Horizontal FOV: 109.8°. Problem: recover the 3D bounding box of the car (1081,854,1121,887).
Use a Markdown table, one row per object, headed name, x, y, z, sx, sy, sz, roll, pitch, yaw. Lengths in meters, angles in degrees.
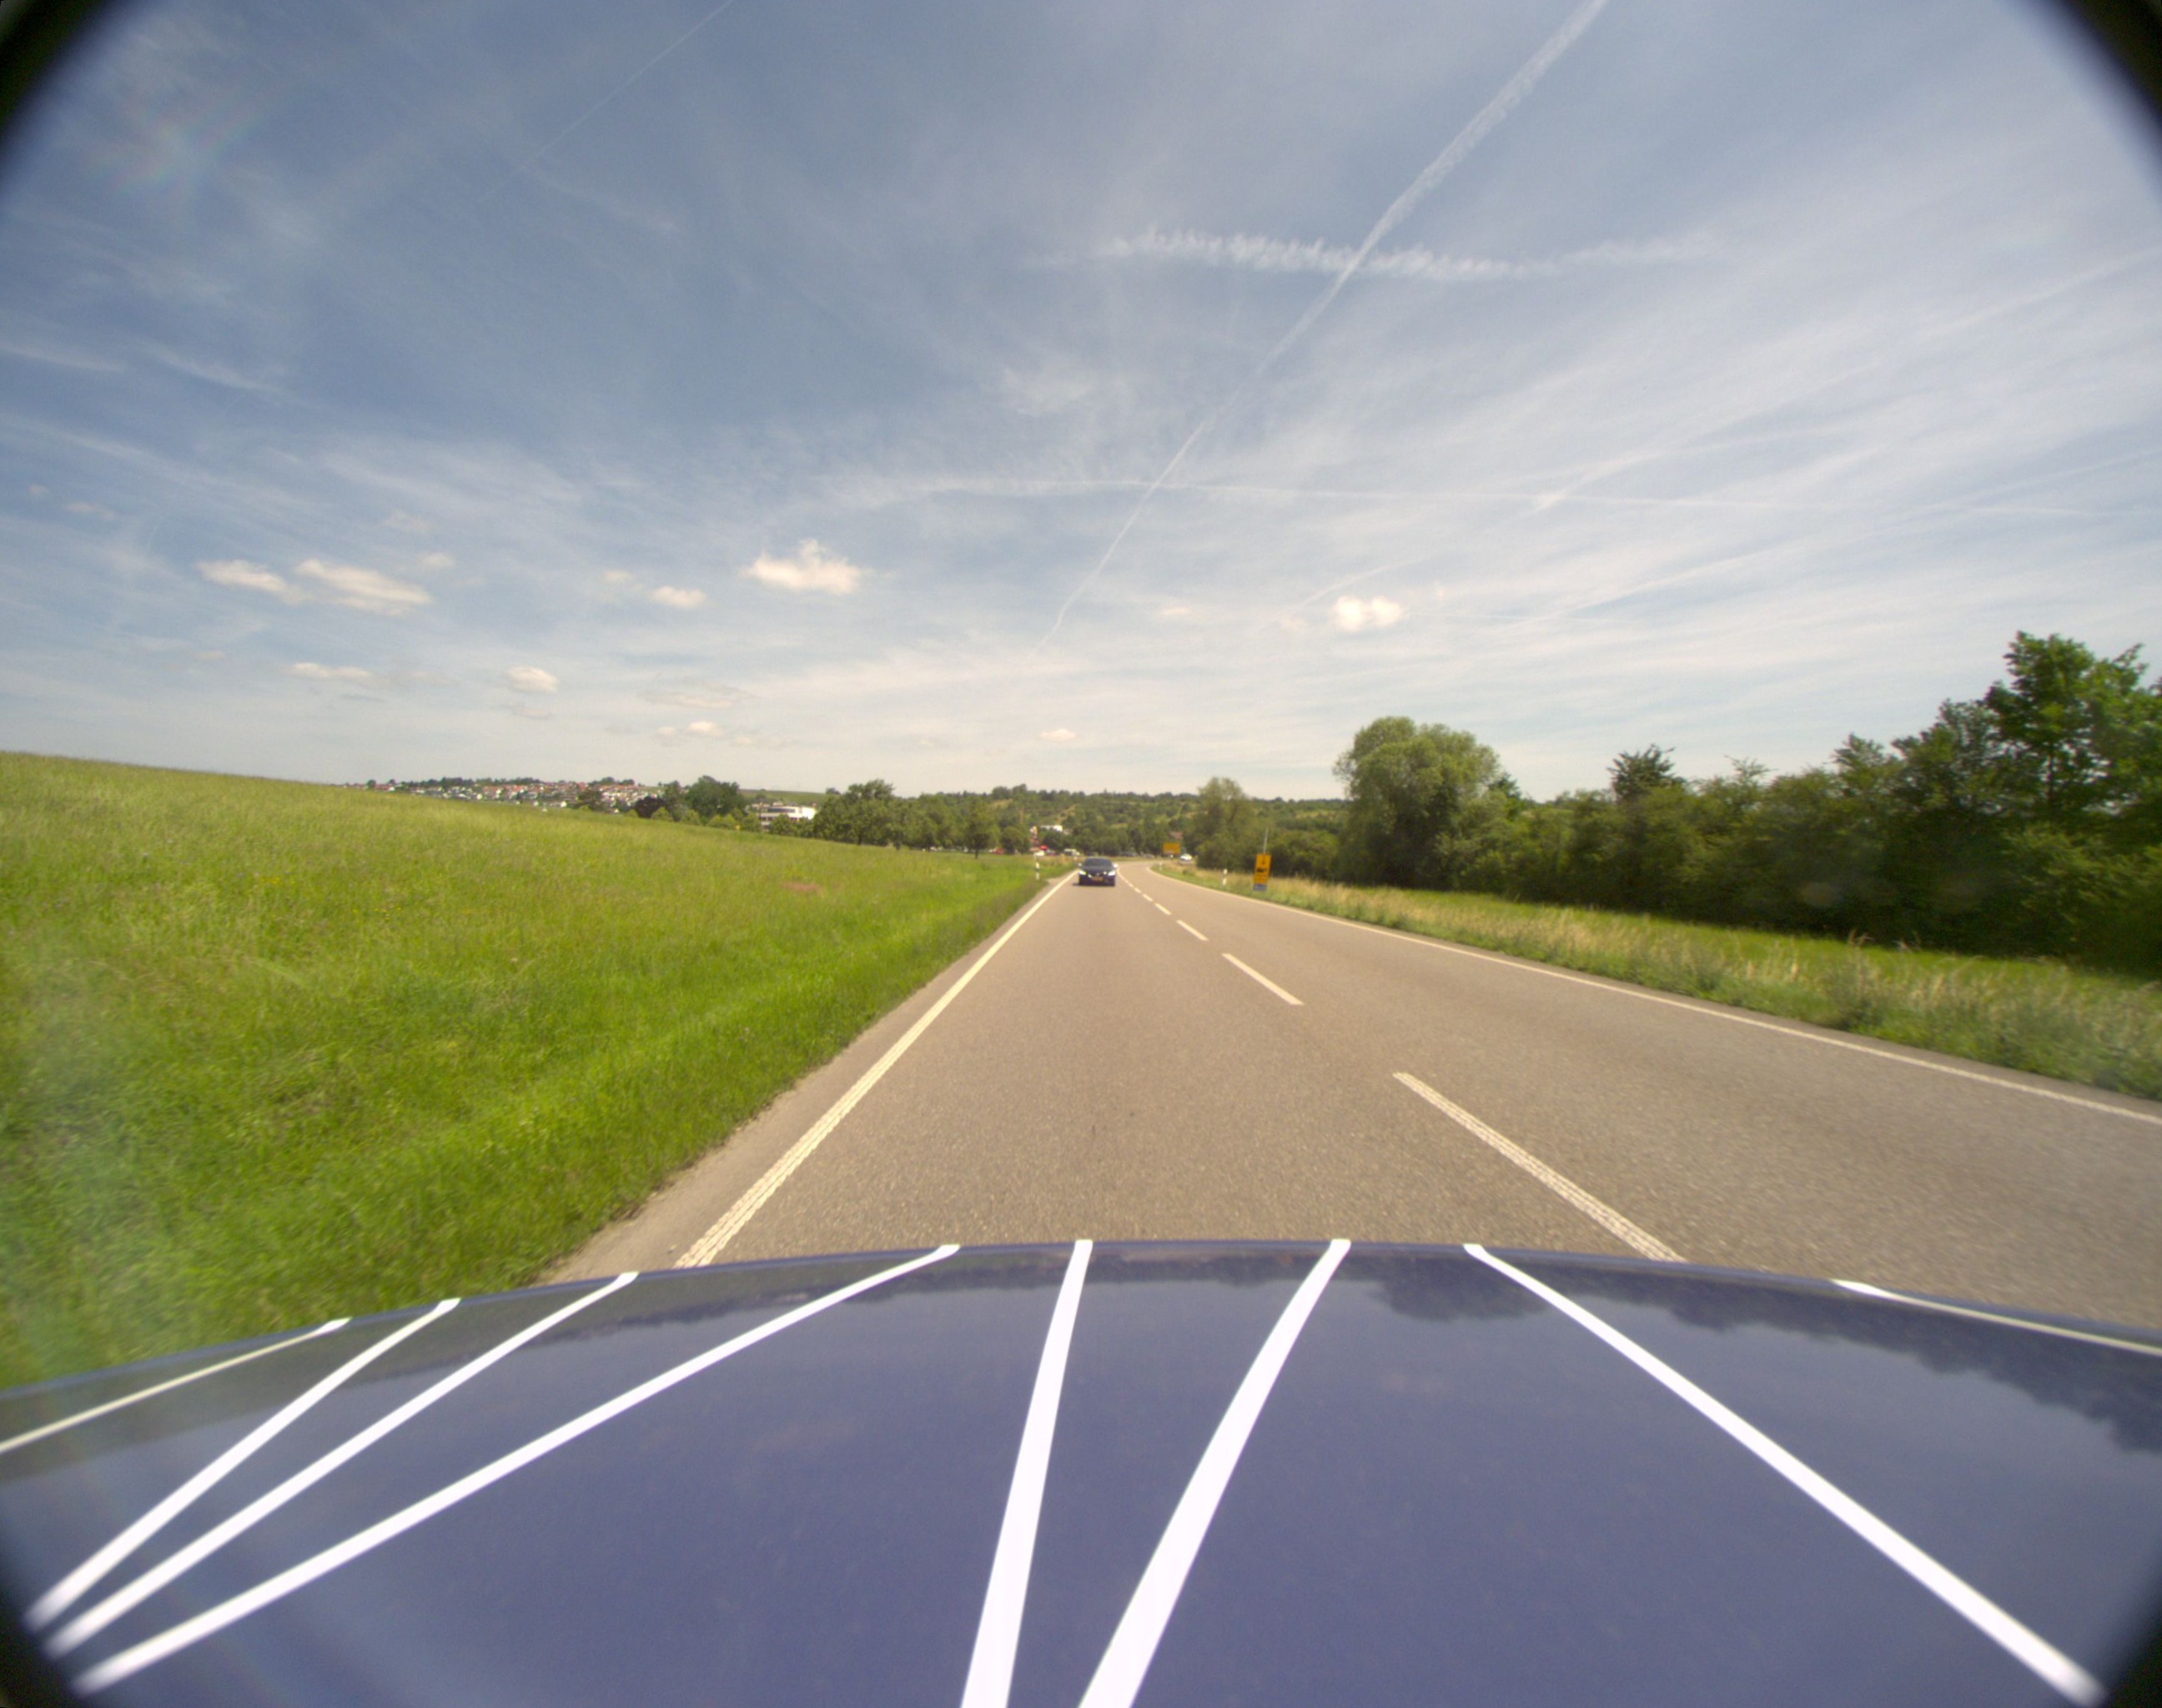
| name | x | y | z | sx | sy | sz | roll | pitch | yaw |
| --- | --- | --- | --- | --- | --- | --- | --- | --- | --- |
| car | 0.936 | 0.749 | 36.752 | 1.785 | 1.440 | 4.604 | 1 | 1 | 0 |
